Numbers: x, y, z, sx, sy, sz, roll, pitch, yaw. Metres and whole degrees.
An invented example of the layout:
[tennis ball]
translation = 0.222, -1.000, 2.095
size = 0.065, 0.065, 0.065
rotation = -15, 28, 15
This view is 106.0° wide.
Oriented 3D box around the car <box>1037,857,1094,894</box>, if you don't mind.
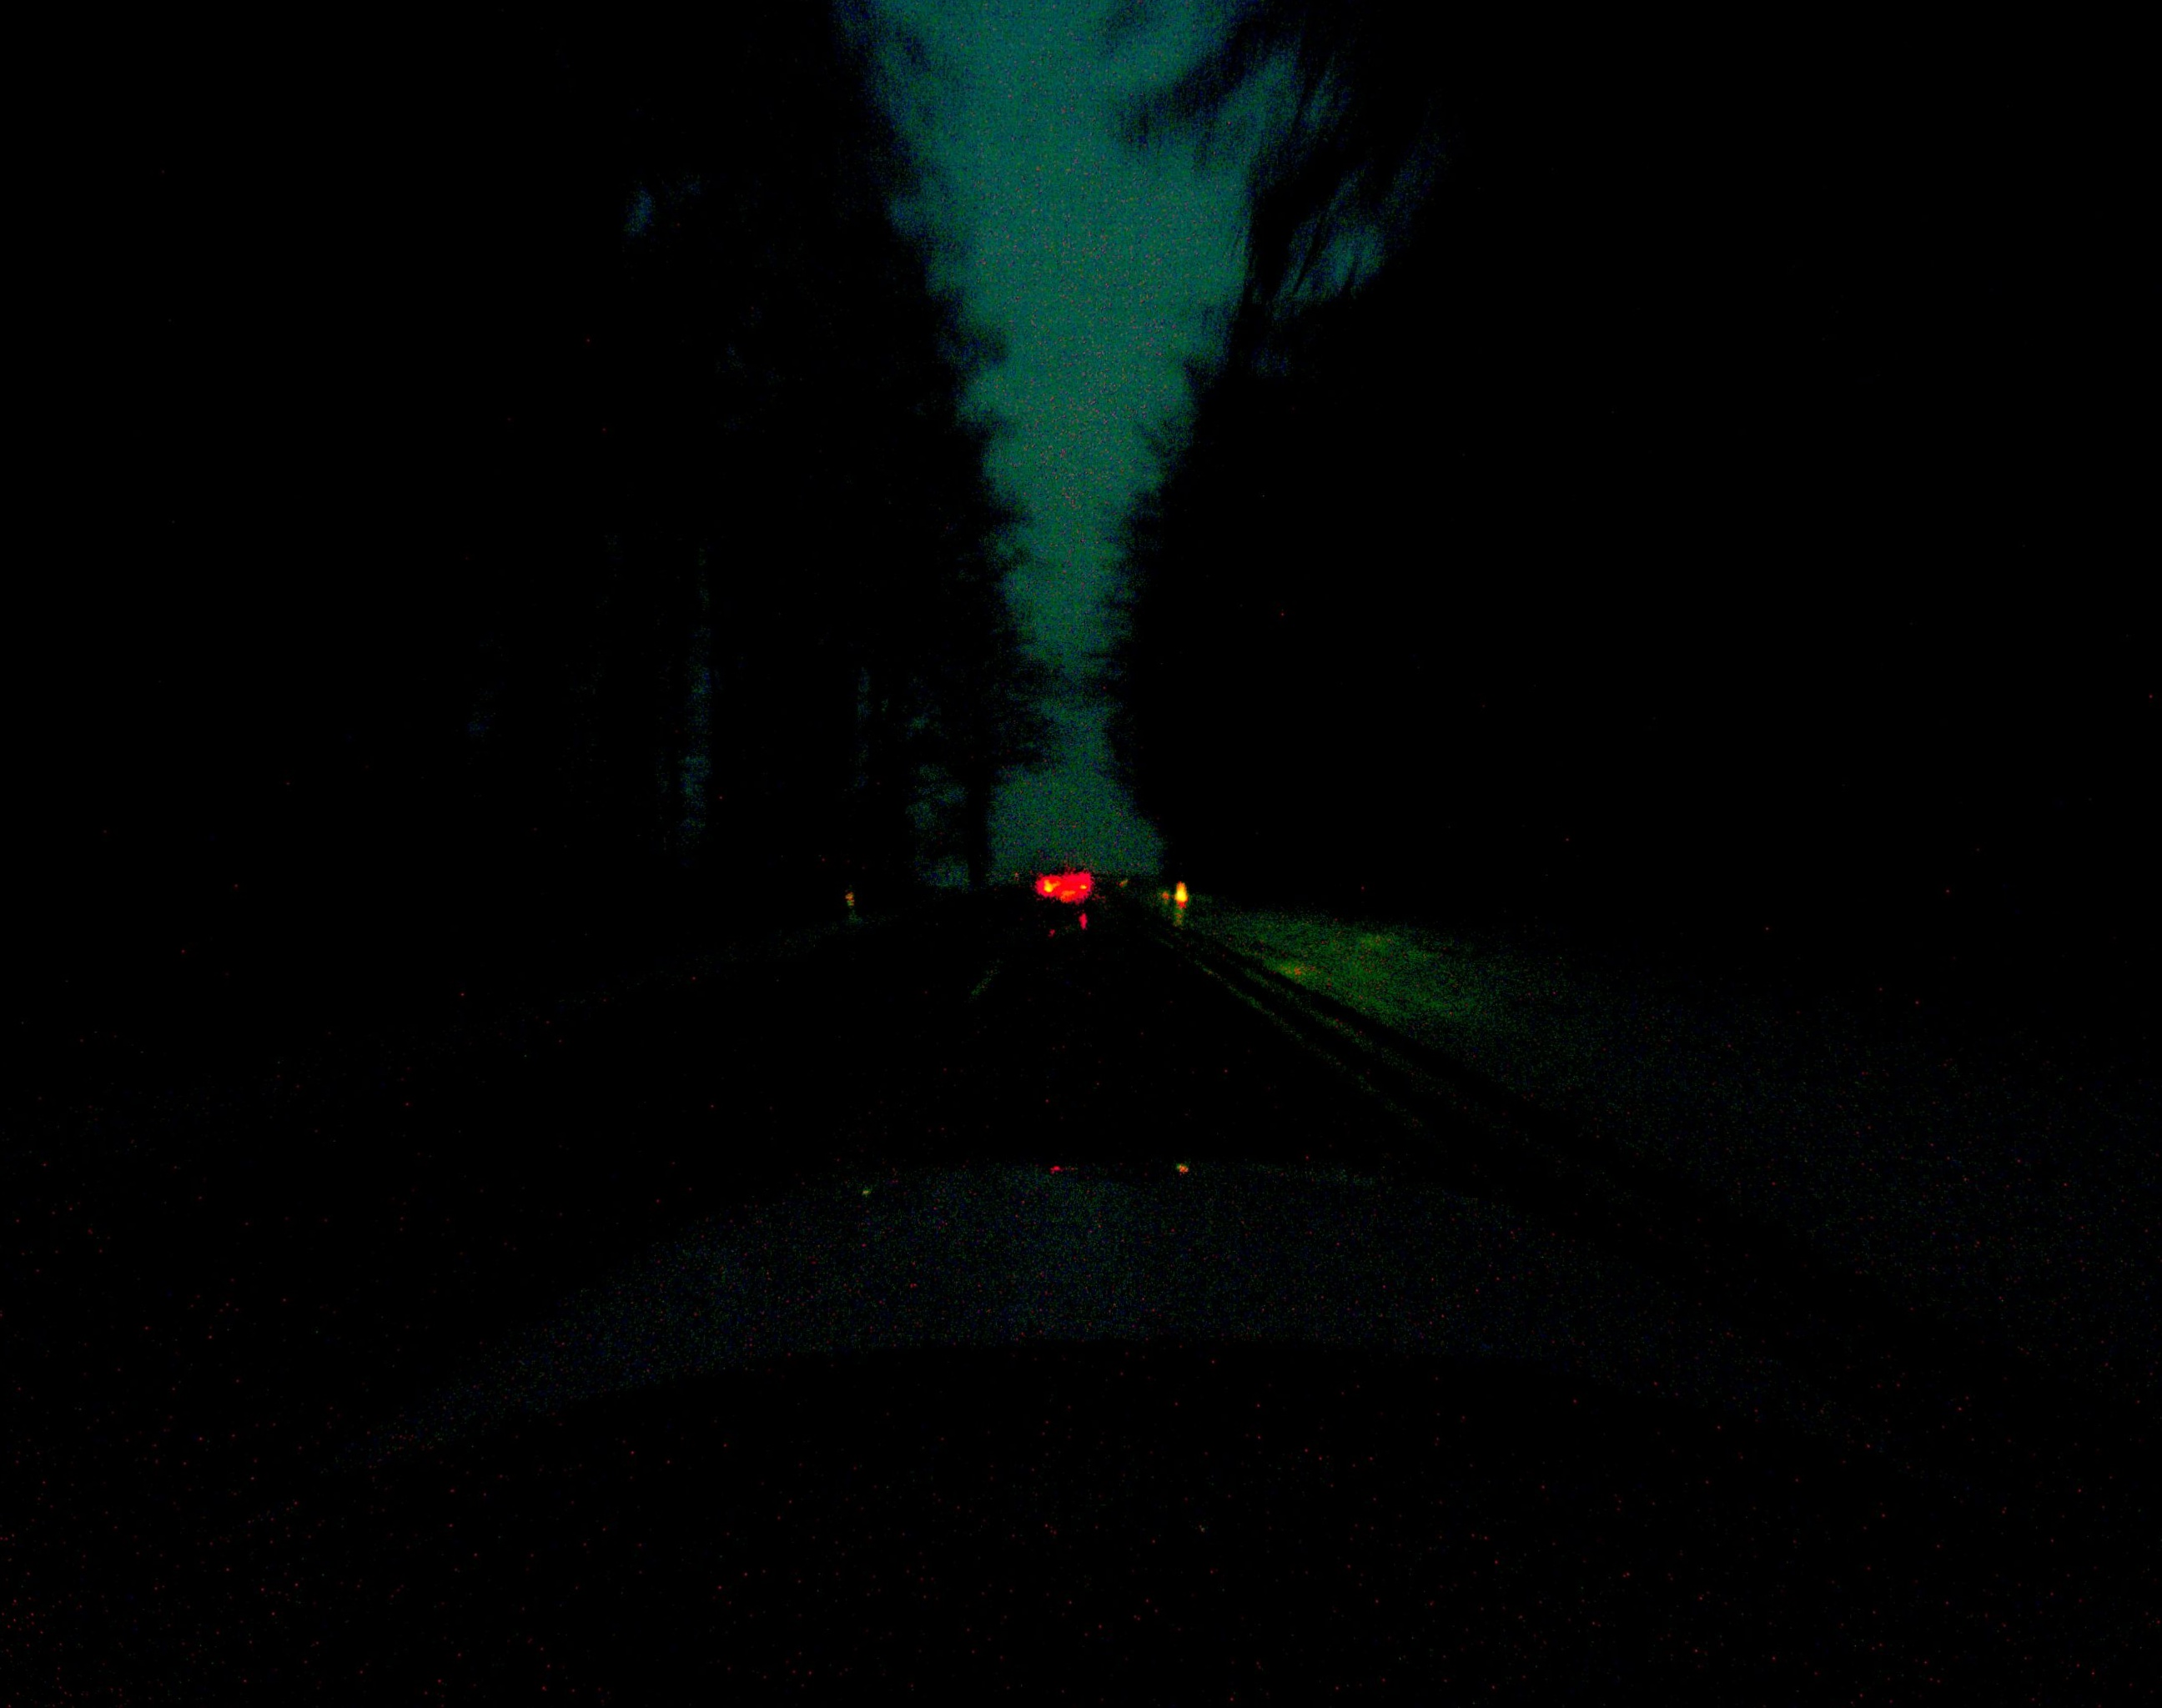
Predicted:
[car]
translation = -0.680, 0.811, 32.525
size = 1.943, 1.381, 3.992
rotation = 0, 0, -6
